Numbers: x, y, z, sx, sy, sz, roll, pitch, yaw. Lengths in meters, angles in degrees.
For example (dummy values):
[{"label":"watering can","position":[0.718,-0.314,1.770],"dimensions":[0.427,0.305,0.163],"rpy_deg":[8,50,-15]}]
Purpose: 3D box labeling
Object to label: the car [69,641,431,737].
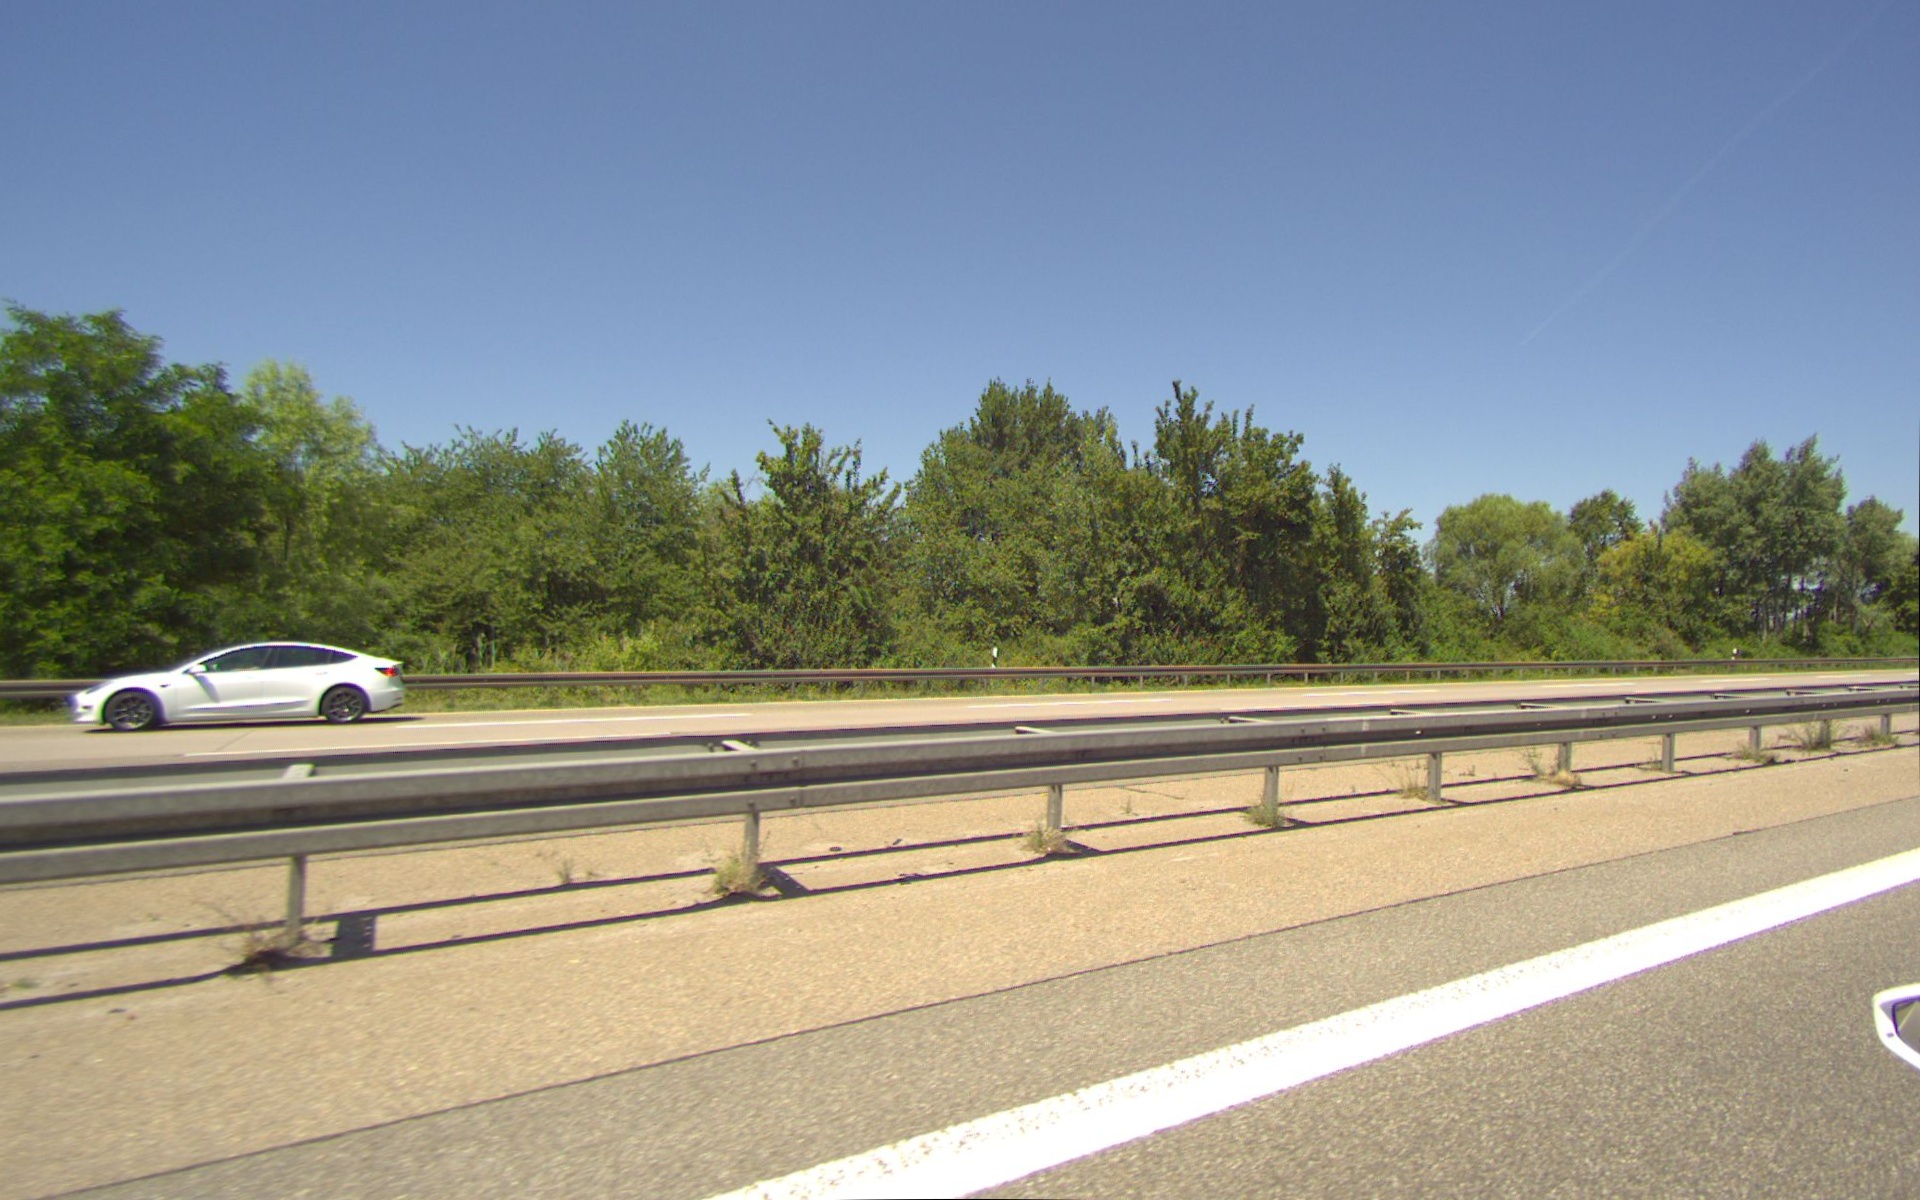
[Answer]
[{"label":"car","position":[-12.090,1.467,17.602],"dimensions":[4.915,1.431,1.984],"rpy_deg":[2,-2,-31]}]
